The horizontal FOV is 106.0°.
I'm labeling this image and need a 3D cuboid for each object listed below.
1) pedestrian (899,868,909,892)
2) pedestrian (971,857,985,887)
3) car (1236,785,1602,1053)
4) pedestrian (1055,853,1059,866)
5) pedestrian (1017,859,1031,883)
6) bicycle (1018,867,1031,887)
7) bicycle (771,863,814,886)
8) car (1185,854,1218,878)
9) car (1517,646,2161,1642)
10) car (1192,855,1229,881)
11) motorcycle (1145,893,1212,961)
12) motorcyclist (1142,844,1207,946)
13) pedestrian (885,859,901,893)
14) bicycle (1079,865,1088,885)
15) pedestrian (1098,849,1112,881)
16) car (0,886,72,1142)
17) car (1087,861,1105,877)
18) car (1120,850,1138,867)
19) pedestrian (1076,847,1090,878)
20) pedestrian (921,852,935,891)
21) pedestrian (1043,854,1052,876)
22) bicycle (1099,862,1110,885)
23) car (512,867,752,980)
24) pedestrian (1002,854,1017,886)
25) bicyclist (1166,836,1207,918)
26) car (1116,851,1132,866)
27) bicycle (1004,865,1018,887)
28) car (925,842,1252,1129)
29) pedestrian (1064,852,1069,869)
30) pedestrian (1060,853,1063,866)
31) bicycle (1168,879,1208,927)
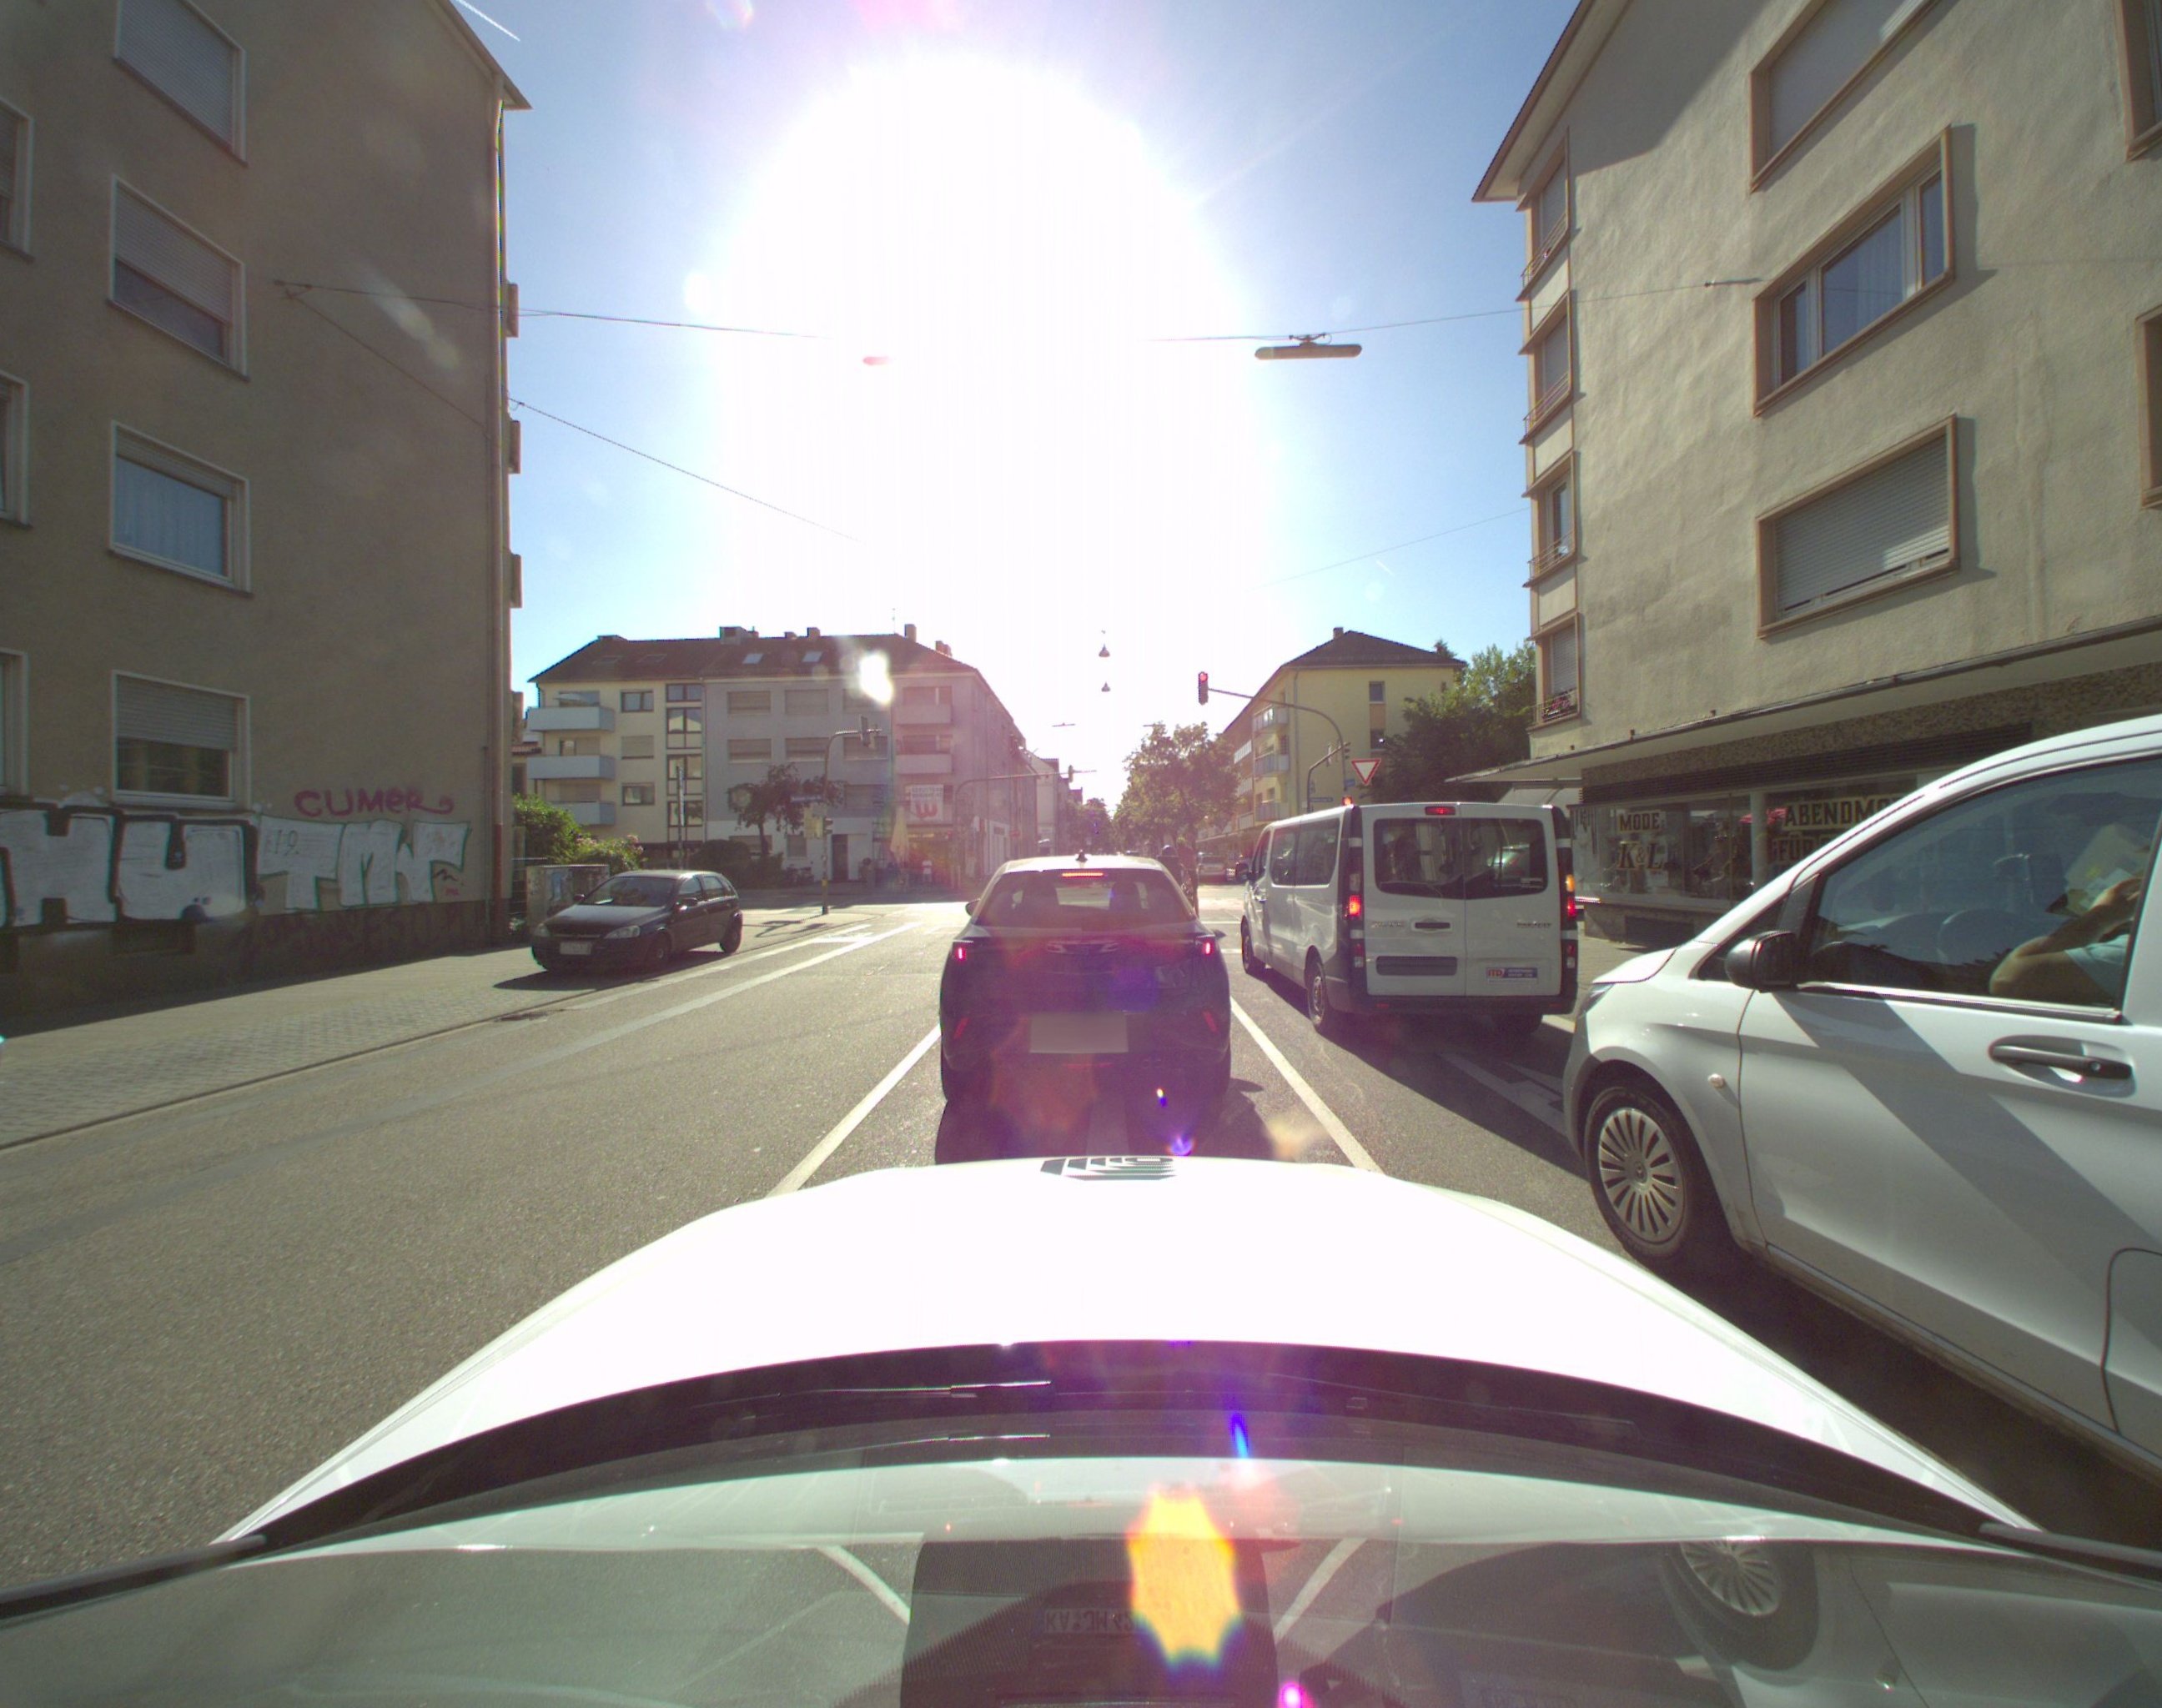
[{"bbox_3d":[-8.235,1.194,37.862,0.354,1.092,0.461,-1,0,-1],"label":"pedestrian"},{"bbox_3d":[-5.453,0.952,43.103,0.615,1.521,0.724,-1,0,-1],"label":"pedestrian"},{"bbox_3d":[3.005,0.485,8.579,1.986,1.979,4.898,1,0,2],"label":"car"},{"bbox_3d":[-3.038,0.718,103.764,0.400,1.675,0.418,-1,0,1],"label":"pedestrian"},{"bbox_3d":[-3.070,0.908,43.804,0.704,1.253,0.802,-1,0,0],"label":"pedestrian"},{"bbox_3d":[-3.060,1.244,44.126,0.520,0.992,2.339,-1,0,0],"label":"bicycle"},{"bbox_3d":[-15.323,1.074,43.250,2.103,1.172,0.735,-1,0,-22],"label":"bicycle"},{"bbox_3d":[7.617,0.739,51.899,1.628,1.433,4.002,-1,0,2],"label":"car"},{"bbox_3d":[2.934,0.533,1.252,1.830,1.869,4.995,-1,0,0],"label":"car"},{"bbox_3d":[7.449,0.775,47.267,1.628,1.433,3.958,-1,0,2],"label":"car"},{"bbox_3d":[1.435,1.065,12.296,0.822,0.845,1.885,-1,0,1],"label":"motorcycle"},{"bbox_3d":[1.423,0.606,12.589,0.861,1.502,1.160,-1,0,1],"label":"motorcyclist"},{"bbox_3d":[-8.734,1.019,37.822,0.582,1.521,0.649,-1,0,-1],"label":"pedestrian"},{"bbox_3d":[0.124,1.130,44.189,0.442,0.992,2.068,-1,0,0],"label":"bicycle"},{"bbox_3d":[1.293,0.583,43.578,0.704,1.701,0.802,-1,0,0],"label":"pedestrian"},{"bbox_3d":[-7.160,0.920,2.620,1.711,1.465,4.817,1,0,1],"label":"car"},{"bbox_3d":[1.675,1.645,90.087,1.817,1.728,4.004,-1,0,3],"label":"car"},{"bbox_3d":[5.125,0.467,87.446,1.894,1.728,4.076,-1,0,2],"label":"car"},{"bbox_3d":[0.104,0.460,43.947,0.678,1.606,0.762,-1,0,0],"label":"pedestrian"},{"bbox_3d":[-7.212,0.817,38.383,0.560,1.775,0.582,-1,0,-7],"label":"pedestrian"},{"bbox_3d":[-2.603,0.851,63.358,0.568,1.690,0.588,-1,0,1],"label":"pedestrian"},{"bbox_3d":[1.245,1.036,43.589,0.520,1.147,2.170,-1,0,0],"label":"bicycle"},{"bbox_3d":[-6.803,0.968,12.834,1.610,1.425,3.711,1,0,1],"label":"car"},{"bbox_3d":[-3.865,0.862,43.925,0.704,1.678,0.802,-1,0,0],"label":"pedestrian"},{"bbox_3d":[2.272,0.481,17.674,0.687,1.712,1.414,-1,0,0],"label":"bicyclist"},{"bbox_3d":[5.146,0.515,97.419,1.894,1.728,4.003,-1,0,2],"label":"car"},{"bbox_3d":[-3.805,1.188,44.226,0.520,1.147,2.283,-1,0,0],"label":"bicycle"},{"bbox_3d":[0.047,0.717,6.449,1.765,1.530,3.999,-1,0,0],"label":"car"},{"bbox_3d":[-1.465,0.643,81.151,0.486,1.690,0.588,-1,0,1],"label":"pedestrian"},{"bbox_3d":[-2.475,0.697,103.343,0.400,1.675,0.418,-1,0,1],"label":"pedestrian"},{"bbox_3d":[2.307,1.048,17.816,0.575,0.904,2.301,-1,0,0],"label":"bicycle"}]
